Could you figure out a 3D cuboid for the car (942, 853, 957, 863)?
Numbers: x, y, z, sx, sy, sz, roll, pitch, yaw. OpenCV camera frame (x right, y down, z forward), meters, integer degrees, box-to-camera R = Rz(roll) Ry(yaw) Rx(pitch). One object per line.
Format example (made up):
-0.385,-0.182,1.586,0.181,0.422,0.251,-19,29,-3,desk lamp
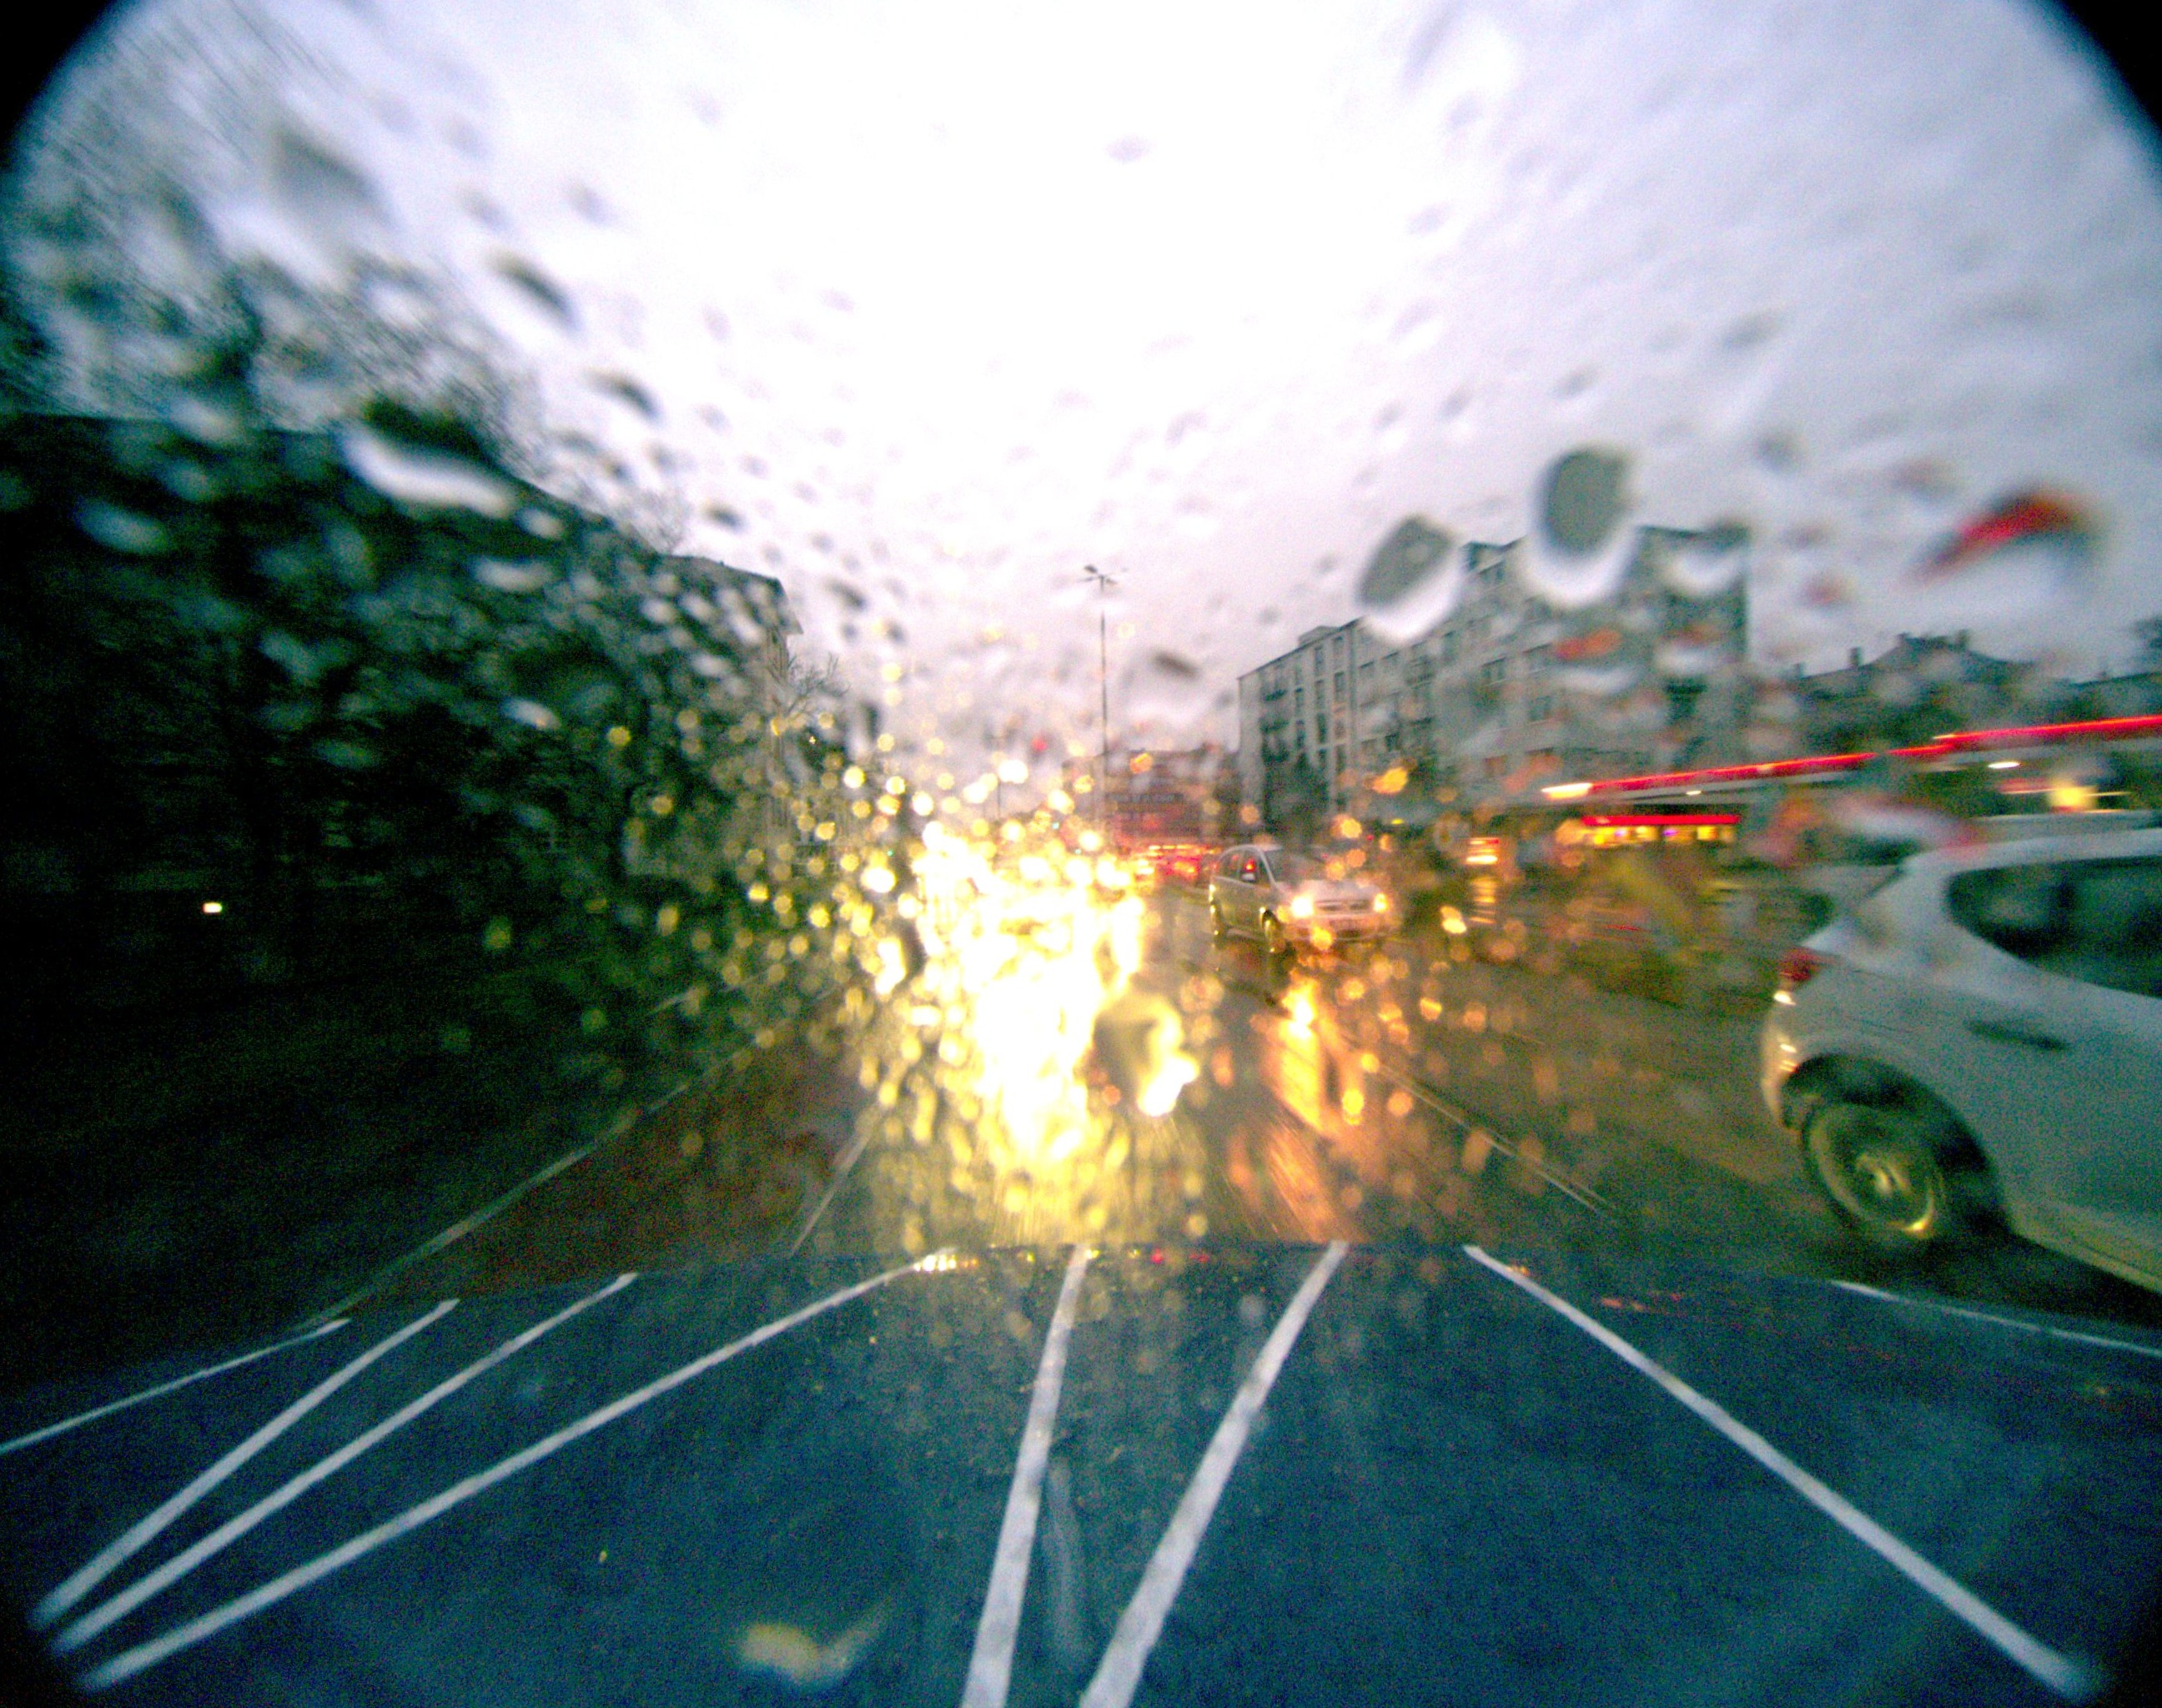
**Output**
-20.683,0.620,119.375,2.000,1.526,3.996,-2,0,-12,car

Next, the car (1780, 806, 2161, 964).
13.795,0.385,11.202,2.001,1.934,4.849,1,0,-12,car

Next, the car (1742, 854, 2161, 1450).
3.538,0.744,1.099,1.630,1.478,4.000,-1,0,-1,car

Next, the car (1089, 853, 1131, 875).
2.099,0.707,55.803,1.969,1.505,4.529,-1,0,-13,car

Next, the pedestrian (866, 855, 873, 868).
-27.362,0.958,98.271,0.657,1.579,0.561,-2,1,-21,pedestrian

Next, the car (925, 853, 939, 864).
-24.647,0.692,125.599,2.000,1.694,3.996,-2,0,-12,car

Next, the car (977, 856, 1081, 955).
-1.132,0.881,14.823,1.651,1.575,3.801,-2,1,-9,car

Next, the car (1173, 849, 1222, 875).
6.828,0.466,45.004,1.651,1.478,3.997,-1,0,-10,car

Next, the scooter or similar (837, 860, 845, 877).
-17.382,1.057,55.053,0.442,1.196,1.079,-2,0,-21,scooter or similar

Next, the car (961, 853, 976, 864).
-17.717,0.665,119.439,2.000,1.599,3.996,-2,0,-12,car

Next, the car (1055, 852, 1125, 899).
0.233,0.711,27.225,1.754,1.535,3.996,-1,0,-11,car

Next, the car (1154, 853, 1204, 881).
5.360,0.692,41.971,1.651,1.478,3.997,-1,0,-10,car

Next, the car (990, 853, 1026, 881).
-4.844,0.811,50.224,1.821,1.732,4.181,-1,0,-13,car

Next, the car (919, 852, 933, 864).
-24.277,0.647,118.891,2.000,1.686,3.996,-2,0,-12,car

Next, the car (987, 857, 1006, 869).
-10.830,1.140,97.379,1.969,1.378,4.529,-1,0,-13,car

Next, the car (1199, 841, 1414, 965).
3.252,0.620,11.877,1.650,1.539,4.106,-2,0,-8,car

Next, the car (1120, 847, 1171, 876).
4.077,0.475,48.948,1.969,1.772,4.529,-1,0,-13,car

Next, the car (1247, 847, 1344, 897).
7.633,0.619,27.543,1.650,1.620,4.656,-1,0,-7,car

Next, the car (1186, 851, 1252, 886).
6.312,0.650,35.254,1.651,1.478,4.141,-1,0,-10,car
